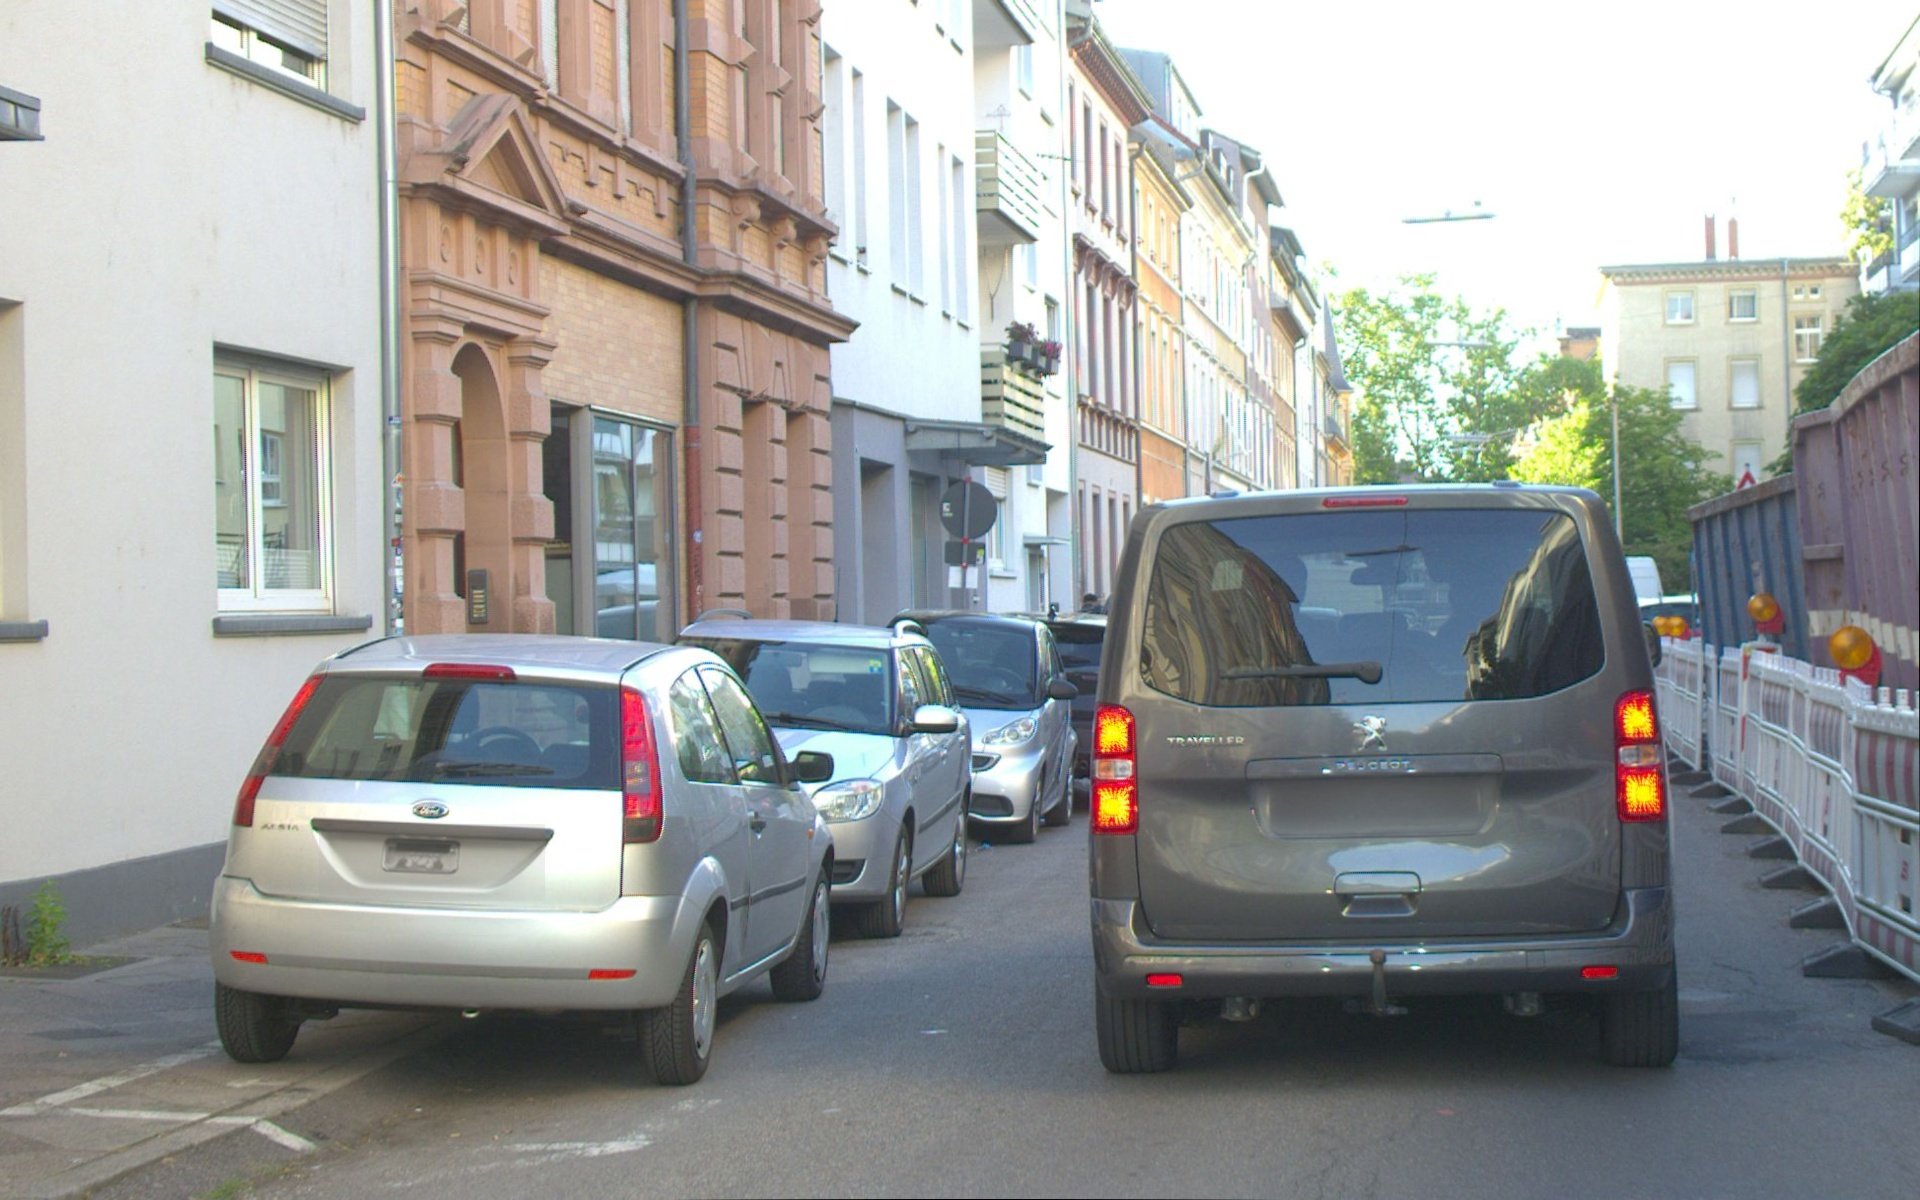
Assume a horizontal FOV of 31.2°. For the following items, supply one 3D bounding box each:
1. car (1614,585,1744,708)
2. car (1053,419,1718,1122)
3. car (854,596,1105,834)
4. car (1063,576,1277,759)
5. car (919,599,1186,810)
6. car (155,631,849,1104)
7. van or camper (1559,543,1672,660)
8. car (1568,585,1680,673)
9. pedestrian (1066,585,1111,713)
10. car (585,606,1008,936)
[{"bbox_3d":[10.375,0.636,49.798,1.749,1.677,4.523,0,0,11],"label":"car"},{"bbox_3d":[1.535,0.508,12.213,1.858,2.007,3.999,-3,0,8],"label":"car"},{"bbox_3d":[0.189,0.783,24.674,1.396,1.583,2.793,-1,0,8],"label":"car"},{"bbox_3d":[2.361,0.689,37.578,1.994,1.852,4.583,-1,0,8],"label":"car"},{"bbox_3d":[0.837,0.814,28.552,1.741,1.594,4.013,-1,0,8],"label":"car"},{"bbox_3d":[-1.508,0.861,12.573,1.632,1.425,3.554,-1,0,7],"label":"car"},{"bbox_3d":[15.695,0.029,82.640,2.100,2.593,7.510,-2,0,7],"label":"van or camper"},{"bbox_3d":[12.871,0.545,66.846,1.723,1.606,4.587,-1,0,6],"label":"car"},{"bbox_3d":[1.648,0.623,44.131,0.495,1.633,0.665,0,0,9],"label":"pedestrian"},{"bbox_3d":[-0.760,0.809,18.107,1.556,1.503,3.596,1,0,8],"label":"car"}]
